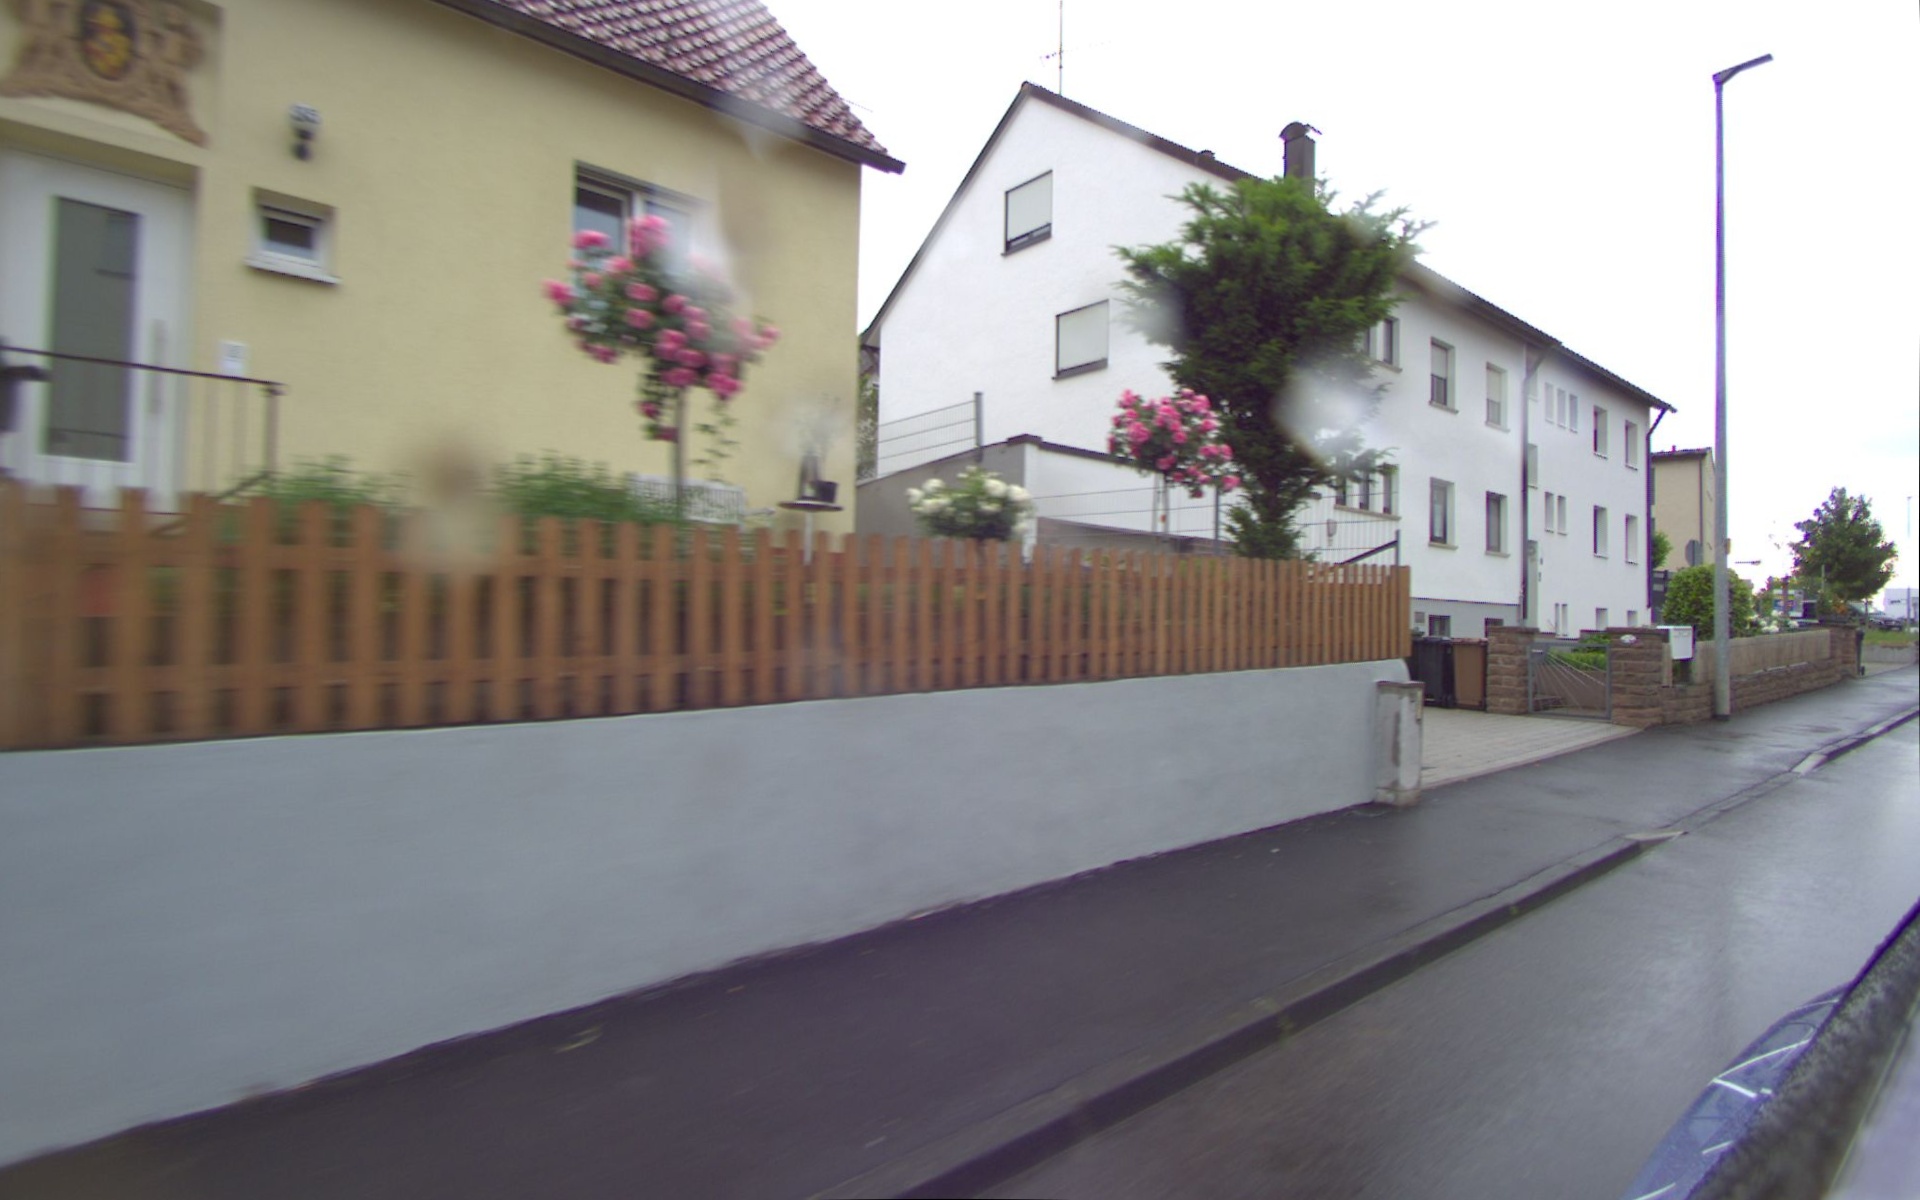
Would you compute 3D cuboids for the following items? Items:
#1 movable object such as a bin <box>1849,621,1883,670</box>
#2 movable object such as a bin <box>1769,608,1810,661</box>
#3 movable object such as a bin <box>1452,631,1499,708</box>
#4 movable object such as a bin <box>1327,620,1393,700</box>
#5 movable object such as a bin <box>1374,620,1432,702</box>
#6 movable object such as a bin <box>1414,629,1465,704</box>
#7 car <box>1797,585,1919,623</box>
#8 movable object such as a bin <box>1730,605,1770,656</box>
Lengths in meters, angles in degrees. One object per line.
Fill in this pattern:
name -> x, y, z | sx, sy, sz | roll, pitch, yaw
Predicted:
movable object such as a bin -> 18.205, 0.919, 20.333 | 0.499, 0.953, 0.425 | 4, -5, -42
movable object such as a bin -> 17.026, 0.714, 20.783 | 0.621, 1.042, 0.545 | 4, -5, -42
movable object such as a bin -> 6.637, 0.892, 13.034 | 0.411, 0.975, 0.406 | 4, -5, -41
movable object such as a bin -> 5.600, 0.840, 14.177 | 0.617, 1.087, 0.651 | 4, -5, -41
movable object such as a bin -> 6.006, 0.827, 13.736 | 0.617, 1.087, 0.498 | 4, -5, -41
movable object such as a bin -> 6.341, 0.874, 13.380 | 0.434, 0.975, 0.472 | 4, -5, -41
car -> 49.094, 0.182, 55.187 | 2.011, 1.943, 5.125 | 2, 0, -11
movable object such as a bin -> 16.599, 0.644, 21.265 | 0.621, 1.042, 0.545 | 4, -5, -42
